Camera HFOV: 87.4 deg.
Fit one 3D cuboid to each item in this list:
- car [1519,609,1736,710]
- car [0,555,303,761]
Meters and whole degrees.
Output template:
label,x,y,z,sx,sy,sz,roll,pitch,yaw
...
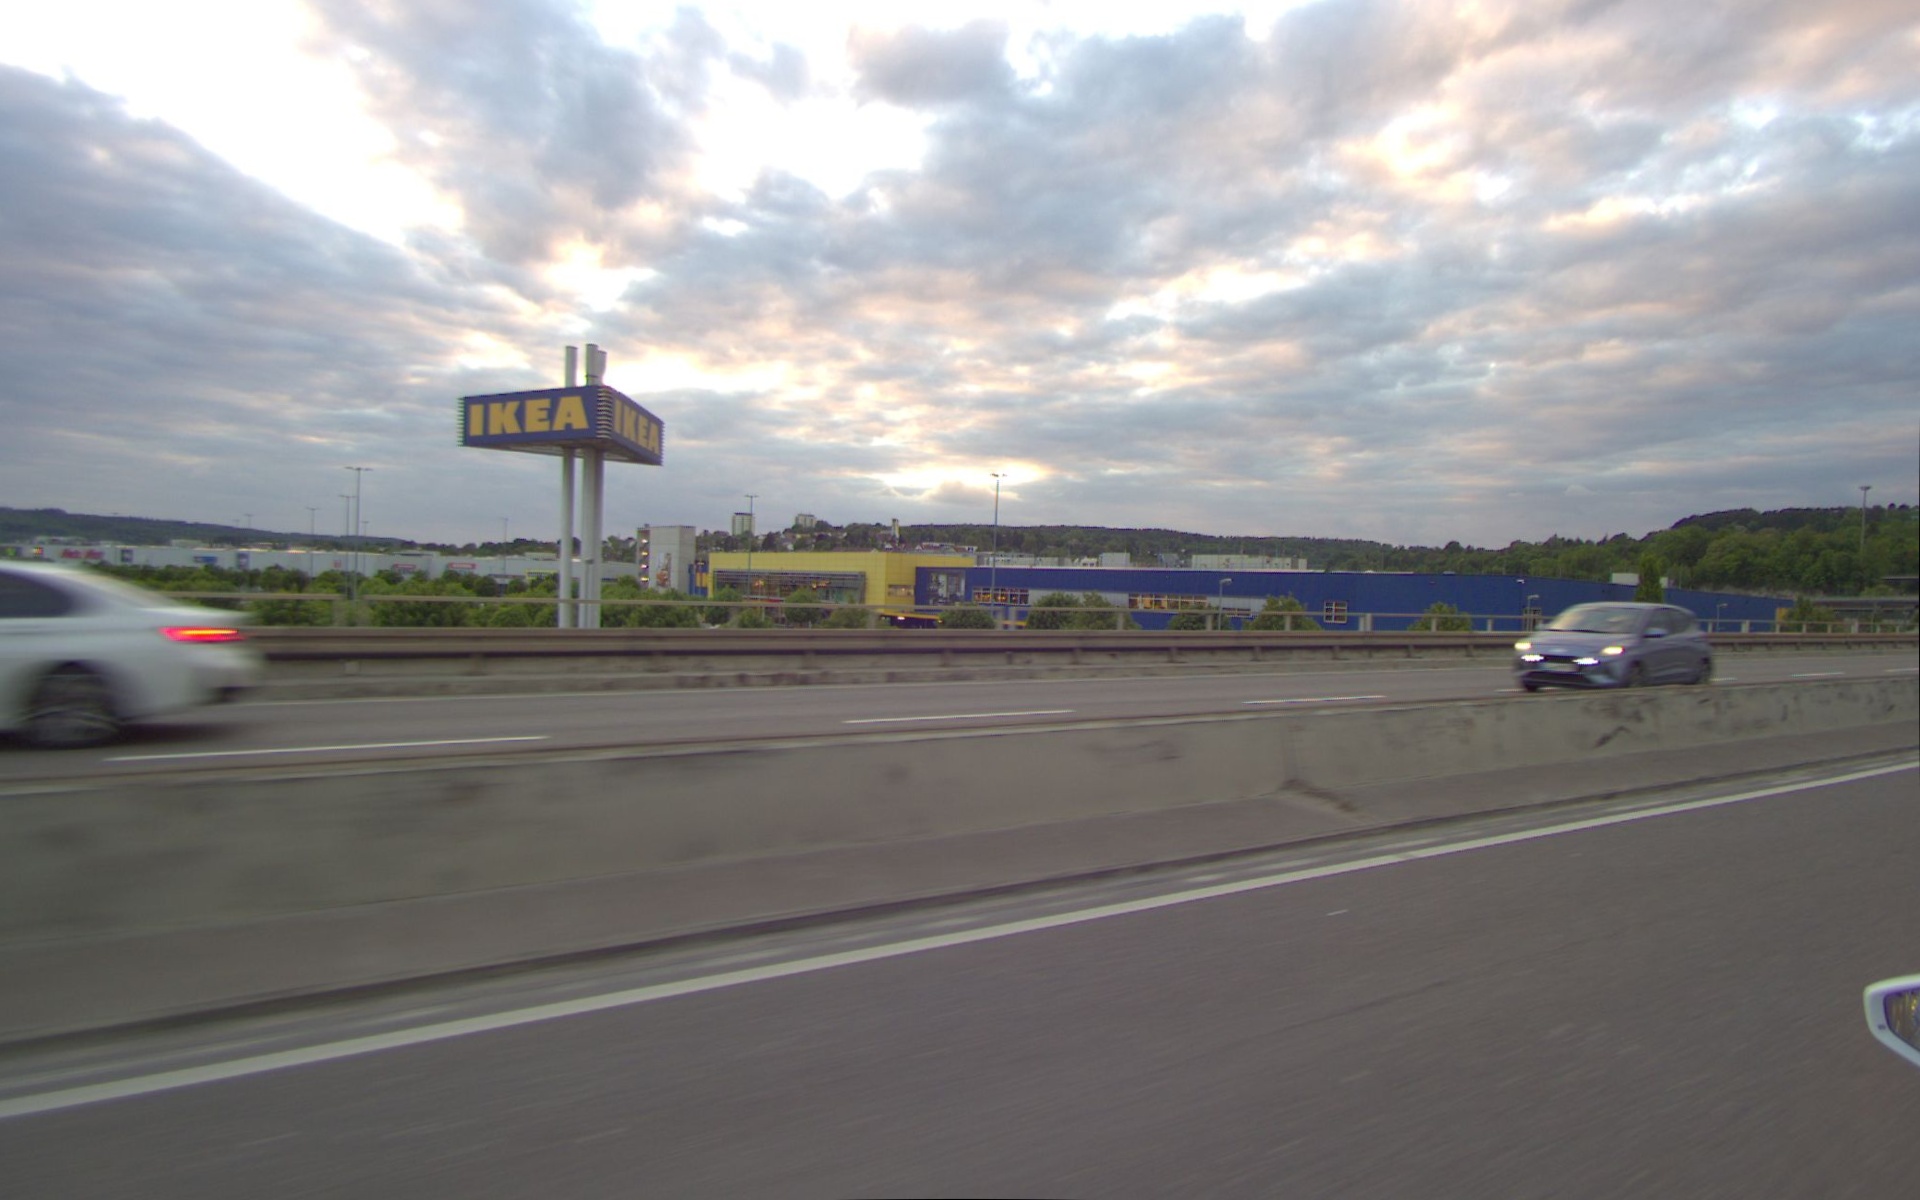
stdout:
label,x,y,z,sx,sy,sz,roll,pitch,yaw
car,11.032,0.901,16.547,3.795,1.460,1.619,0,0,-33
car,-8.077,0.418,7.903,4.762,1.523,1.821,2,-1,-32
